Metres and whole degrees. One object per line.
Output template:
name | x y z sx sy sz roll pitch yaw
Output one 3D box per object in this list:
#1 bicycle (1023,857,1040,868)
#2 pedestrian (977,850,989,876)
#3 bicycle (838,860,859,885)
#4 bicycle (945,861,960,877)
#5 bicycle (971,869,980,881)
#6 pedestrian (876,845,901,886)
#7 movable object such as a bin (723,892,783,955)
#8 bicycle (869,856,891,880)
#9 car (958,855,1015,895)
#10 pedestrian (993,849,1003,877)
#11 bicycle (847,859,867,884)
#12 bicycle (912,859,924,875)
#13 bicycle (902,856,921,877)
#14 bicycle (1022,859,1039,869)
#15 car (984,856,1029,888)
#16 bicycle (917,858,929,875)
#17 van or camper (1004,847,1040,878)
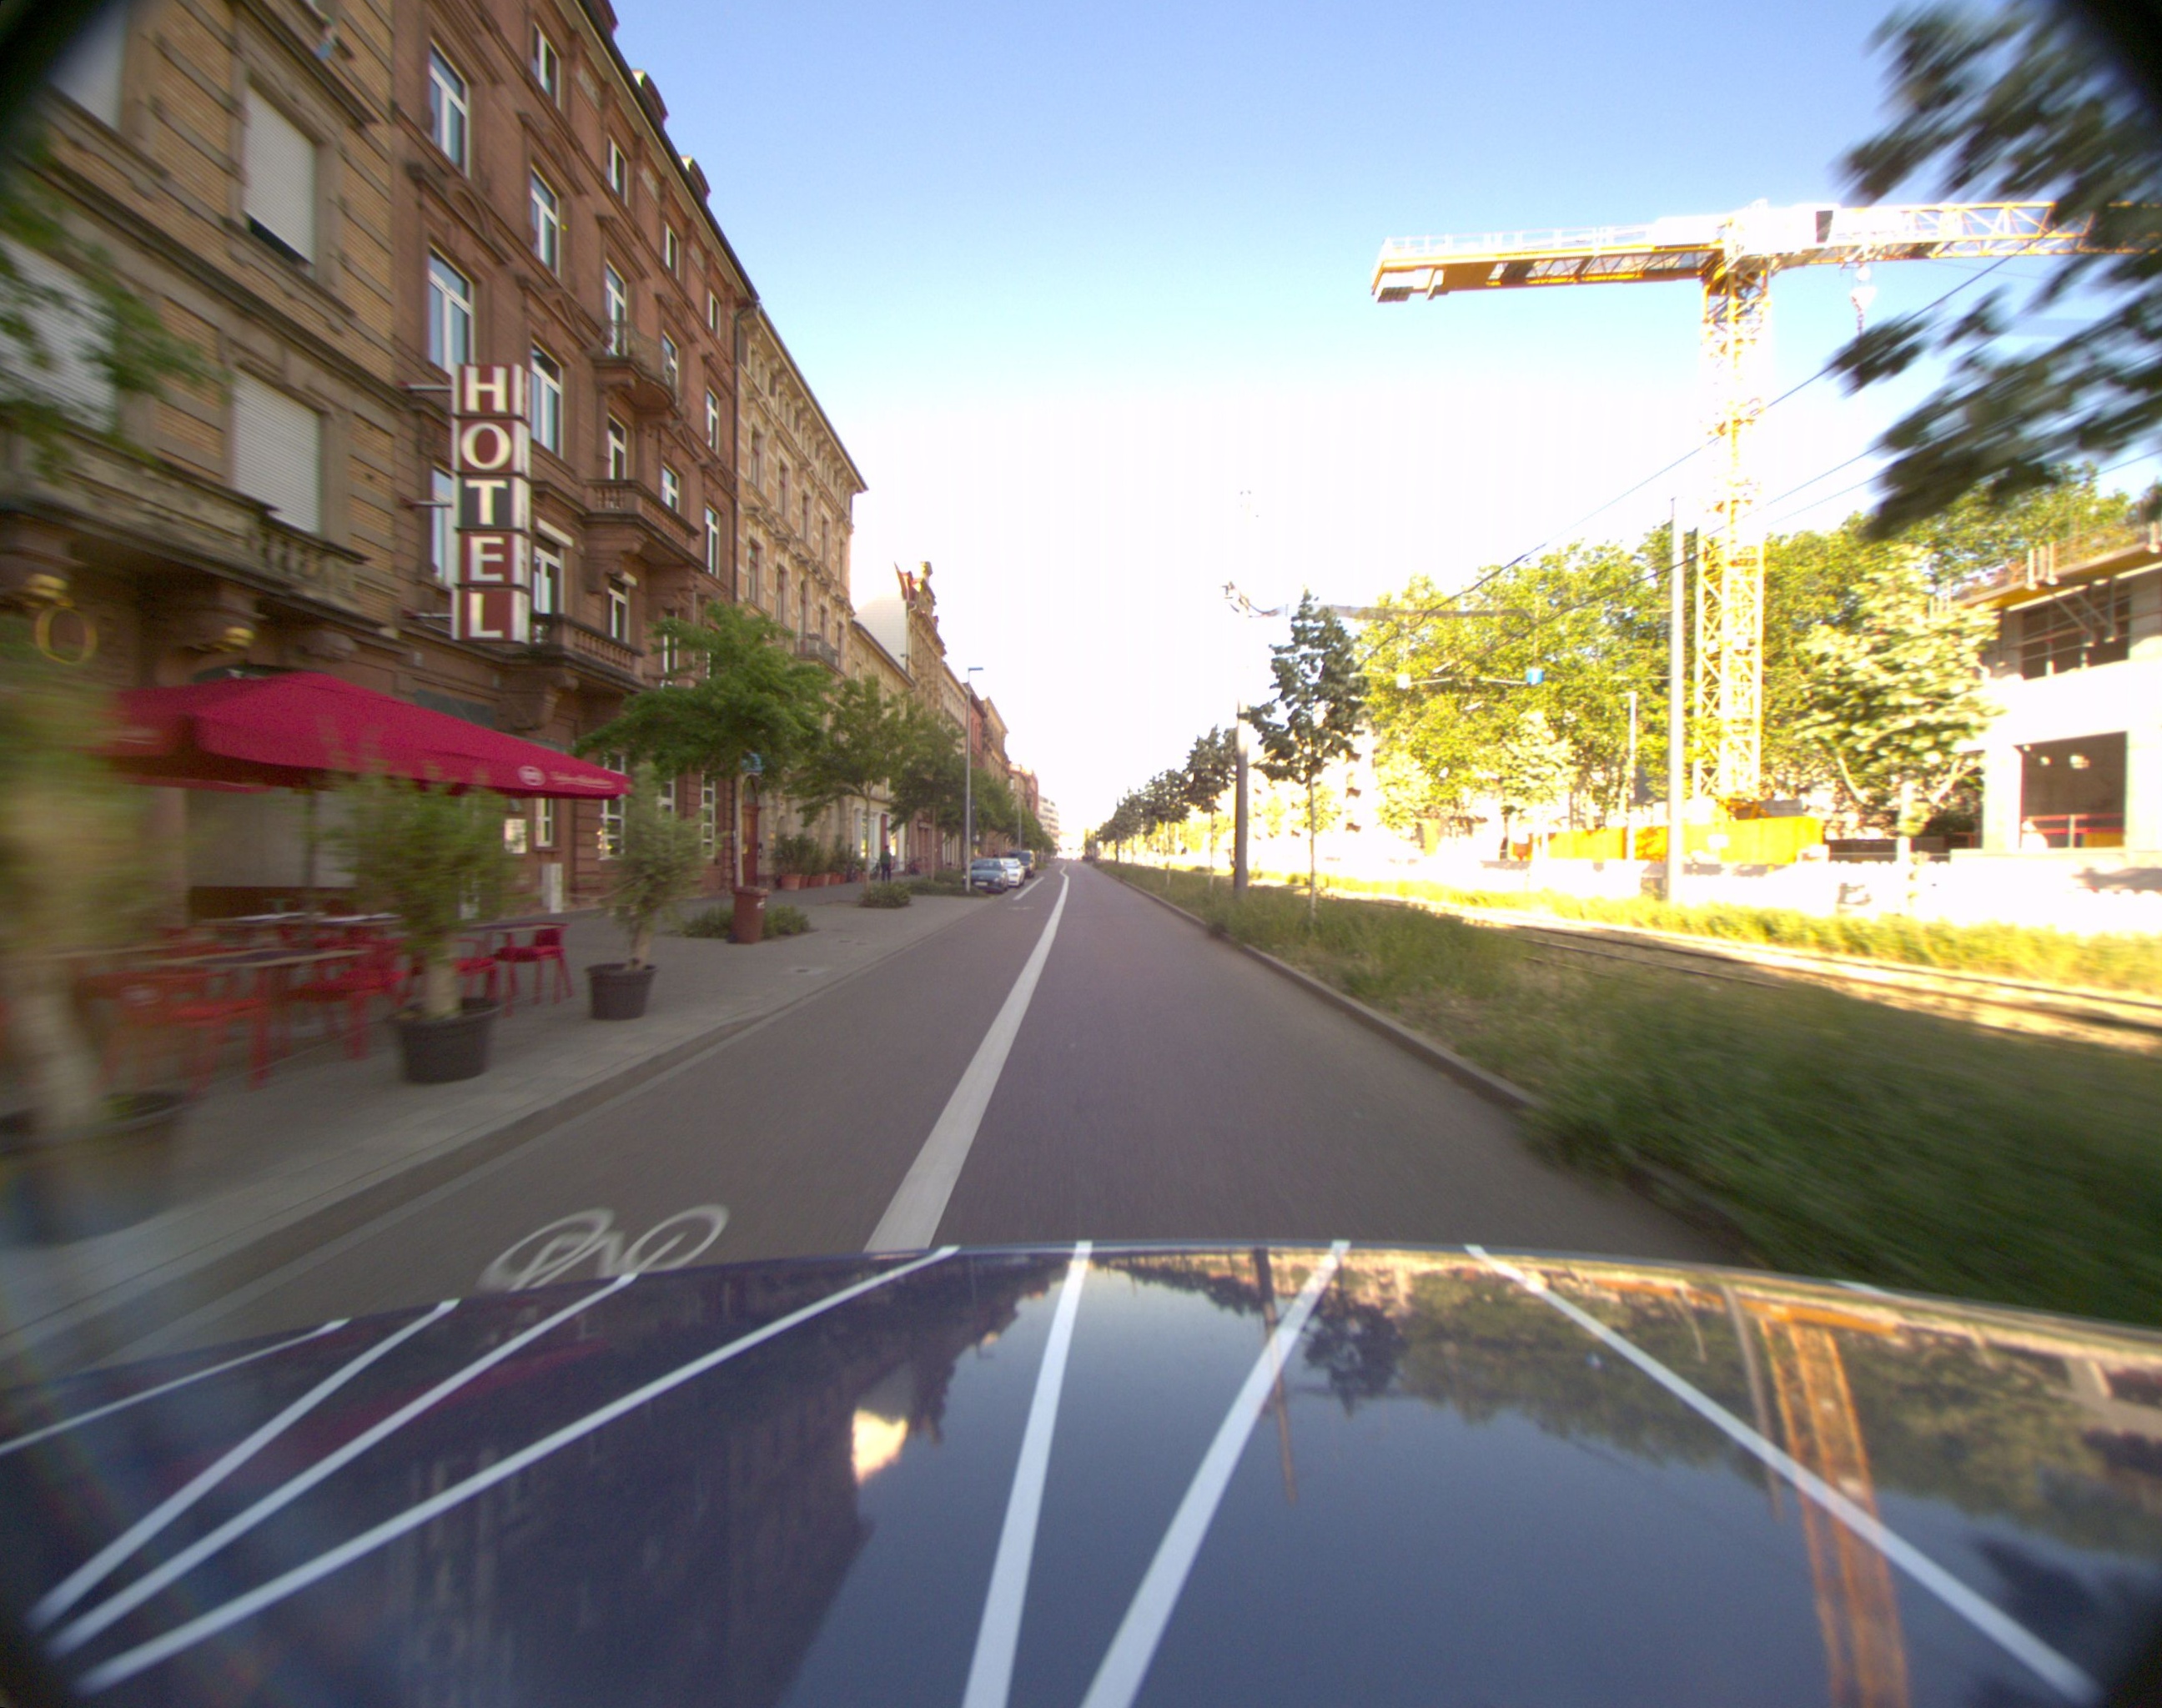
bicycle | -5.050 0.890 77.557 1.584 1.112 0.577 0 0 2
pedestrian | -6.354 0.570 49.211 0.481 1.718 0.578 0 1 45
bicycle | -10.469 0.801 34.206 0.385 1.074 1.676 -1 0 0
bicycle | -7.769 0.884 46.047 0.656 0.910 1.682 0 0 0
bicycle | -5.918 1.145 42.469 0.355 0.643 1.002 0 0 0
pedestrian | -8.268 0.486 32.692 0.749 1.744 1.072 1 1 0
movable object such as a bin | -5.338 1.114 12.376 0.676 0.919 0.561 4 2 20
bicycle | -10.398 0.696 39.326 0.721 1.188 1.772 0 0 -3
car | -4.002 0.840 32.876 1.853 1.555 4.297 2 0 1
pedestrian | -5.358 0.574 48.904 0.471 1.768 0.506 0 1 19
bicycle | -10.081 0.787 34.260 0.385 1.074 1.676 -1 0 0
bicycle | -10.548 0.828 49.196 0.344 1.027 2.072 0 0 0
bicycle | -10.315 0.739 46.375 0.706 1.213 2.072 0 0 0
bicycle | -4.988 0.971 74.870 1.613 1.046 0.478 0 0 2
car | -3.731 0.876 39.011 1.853 1.445 5.251 2 0 -1
bicycle | -10.199 0.779 49.199 0.325 1.058 2.072 0 0 0
van or camper | -3.992 0.559 52.398 1.966 1.960 5.487 2 0 1
